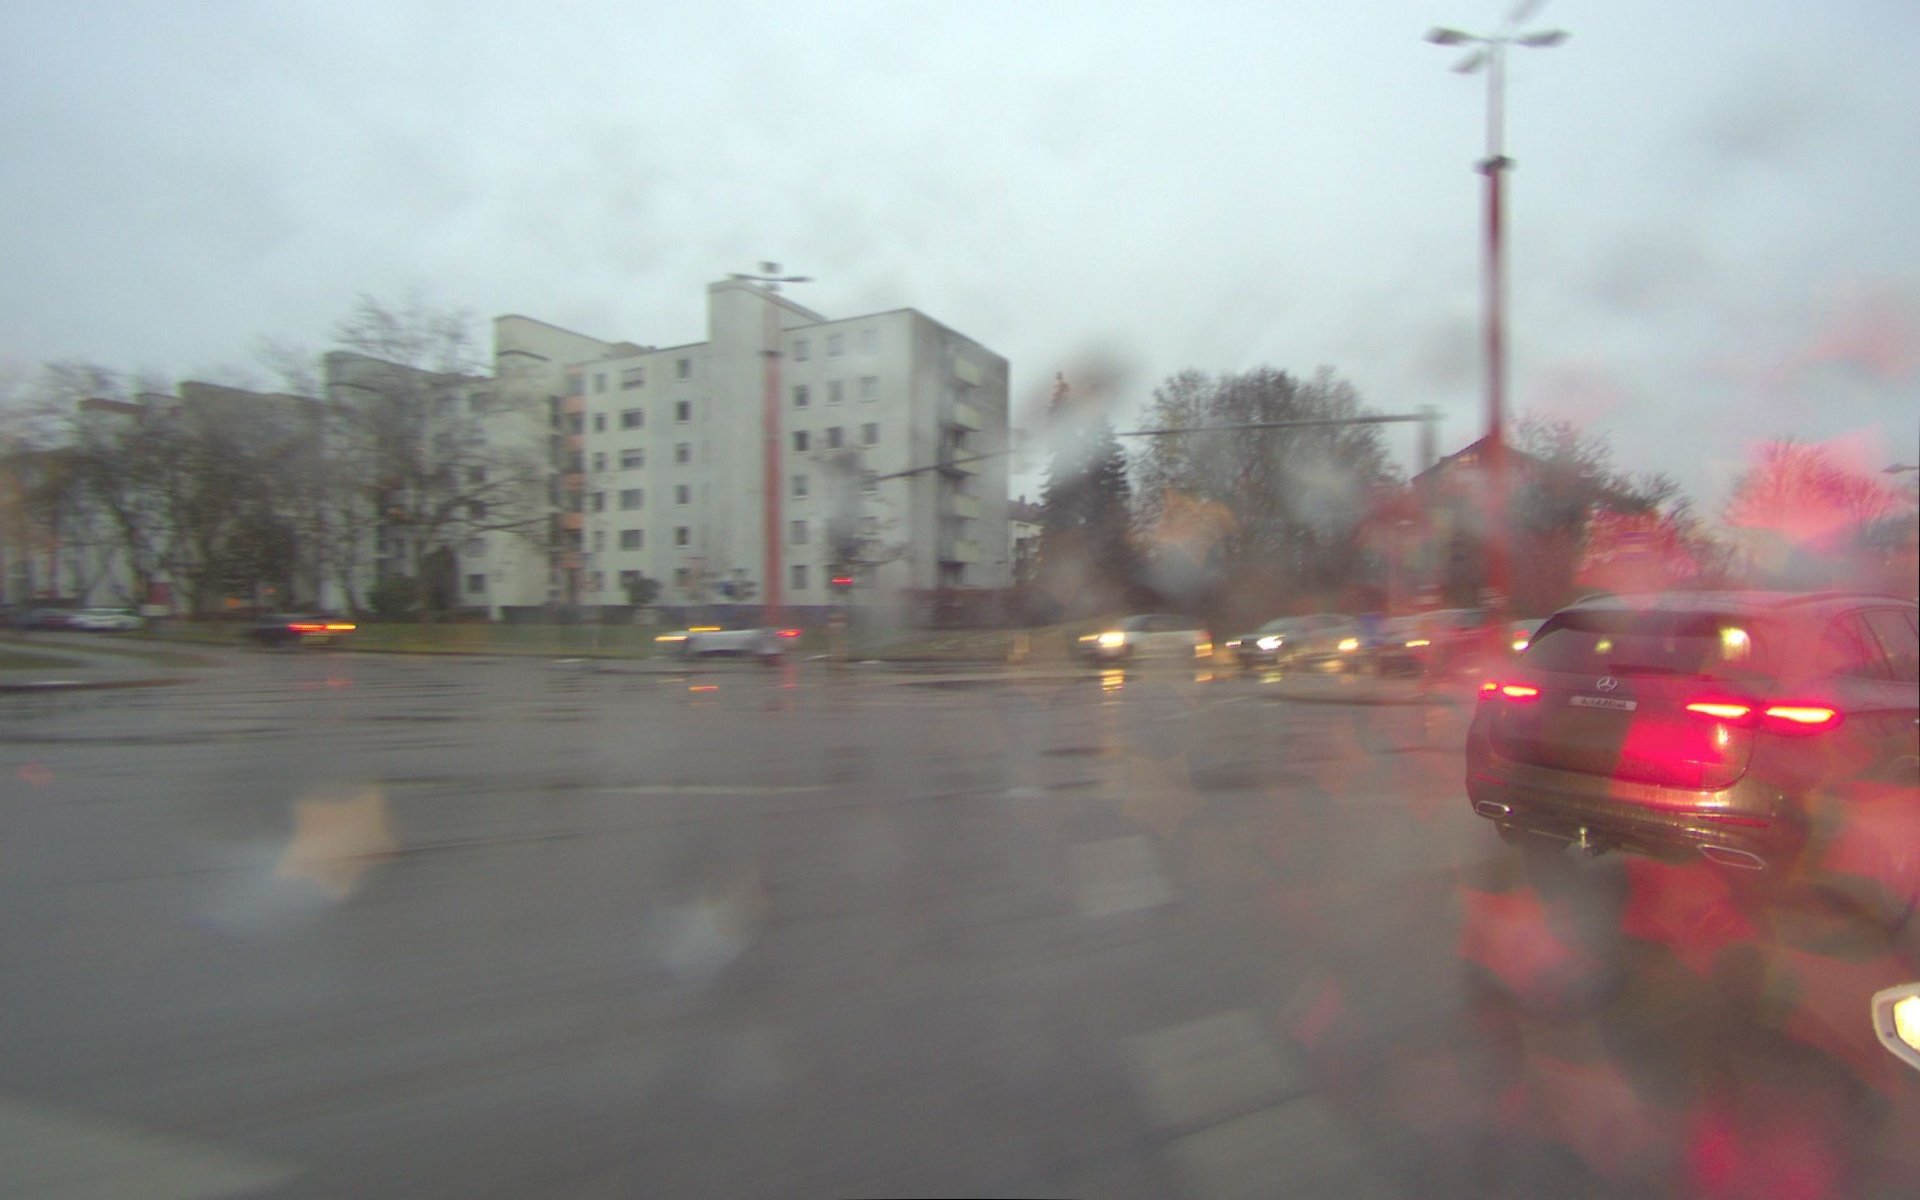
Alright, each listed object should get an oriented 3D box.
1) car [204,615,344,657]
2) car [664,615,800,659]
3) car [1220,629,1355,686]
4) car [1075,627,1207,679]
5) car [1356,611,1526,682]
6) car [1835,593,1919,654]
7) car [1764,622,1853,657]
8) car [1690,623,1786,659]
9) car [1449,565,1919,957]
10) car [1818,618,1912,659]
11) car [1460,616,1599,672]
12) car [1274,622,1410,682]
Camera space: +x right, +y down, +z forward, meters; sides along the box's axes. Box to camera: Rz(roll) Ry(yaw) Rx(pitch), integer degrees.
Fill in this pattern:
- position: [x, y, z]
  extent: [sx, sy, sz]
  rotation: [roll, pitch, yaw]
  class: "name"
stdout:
- position: [-27.037, 1.397, 39.655]
  extent: [4.393, 1.550, 2.001]
  rotation: [0, -1, 9]
  class: "car"
- position: [-8.320, 1.352, 36.937]
  extent: [4.507, 1.550, 2.000]
  rotation: [0, -1, 1]
  class: "car"
- position: [9.844, 1.682, 30.158]
  extent: [3.901, 1.574, 1.761]
  rotation: [1, -1, -31]
  class: "car"
- position: [5.731, 1.645, 31.718]
  extent: [3.965, 1.515, 1.612]
  rotation: [0, -1, -27]
  class: "car"
- position: [11.744, 1.077, 24.469]
  extent: [4.033, 1.603, 1.847]
  rotation: [1, -1, -31]
  class: "car"
- position: [49.042, 1.262, 52.705]
  extent: [7.255, 3.045, 2.282]
  rotation: [2, 0, -28]
  class: "car"
- position: [40.051, 1.831, 47.410]
  extent: [4.390, 1.557, 1.763]
  rotation: [0, -1, -28]
  class: "car"
- position: [34.114, 1.765, 44.025]
  extent: [4.594, 1.509, 1.761]
  rotation: [1, -1, -30]
  class: "car"
- position: [5.216, 0.726, 6.153]
  extent: [4.411, 1.670, 1.815]
  rotation: [1, -1, -29]
  class: "car"
- position: [37.682, 1.574, 41.806]
  extent: [3.985, 1.607, 1.762]
  rotation: [1, -1, -30]
  class: "car"
- position: [17.442, 1.291, 30.732]
  extent: [4.236, 1.620, 1.848]
  rotation: [1, -1, -30]
  class: "car"
- position: [9.946, 1.311, 26.131]
  extent: [3.287, 1.439, 1.644]
  rotation: [0, -1, -30]
  class: "car"
